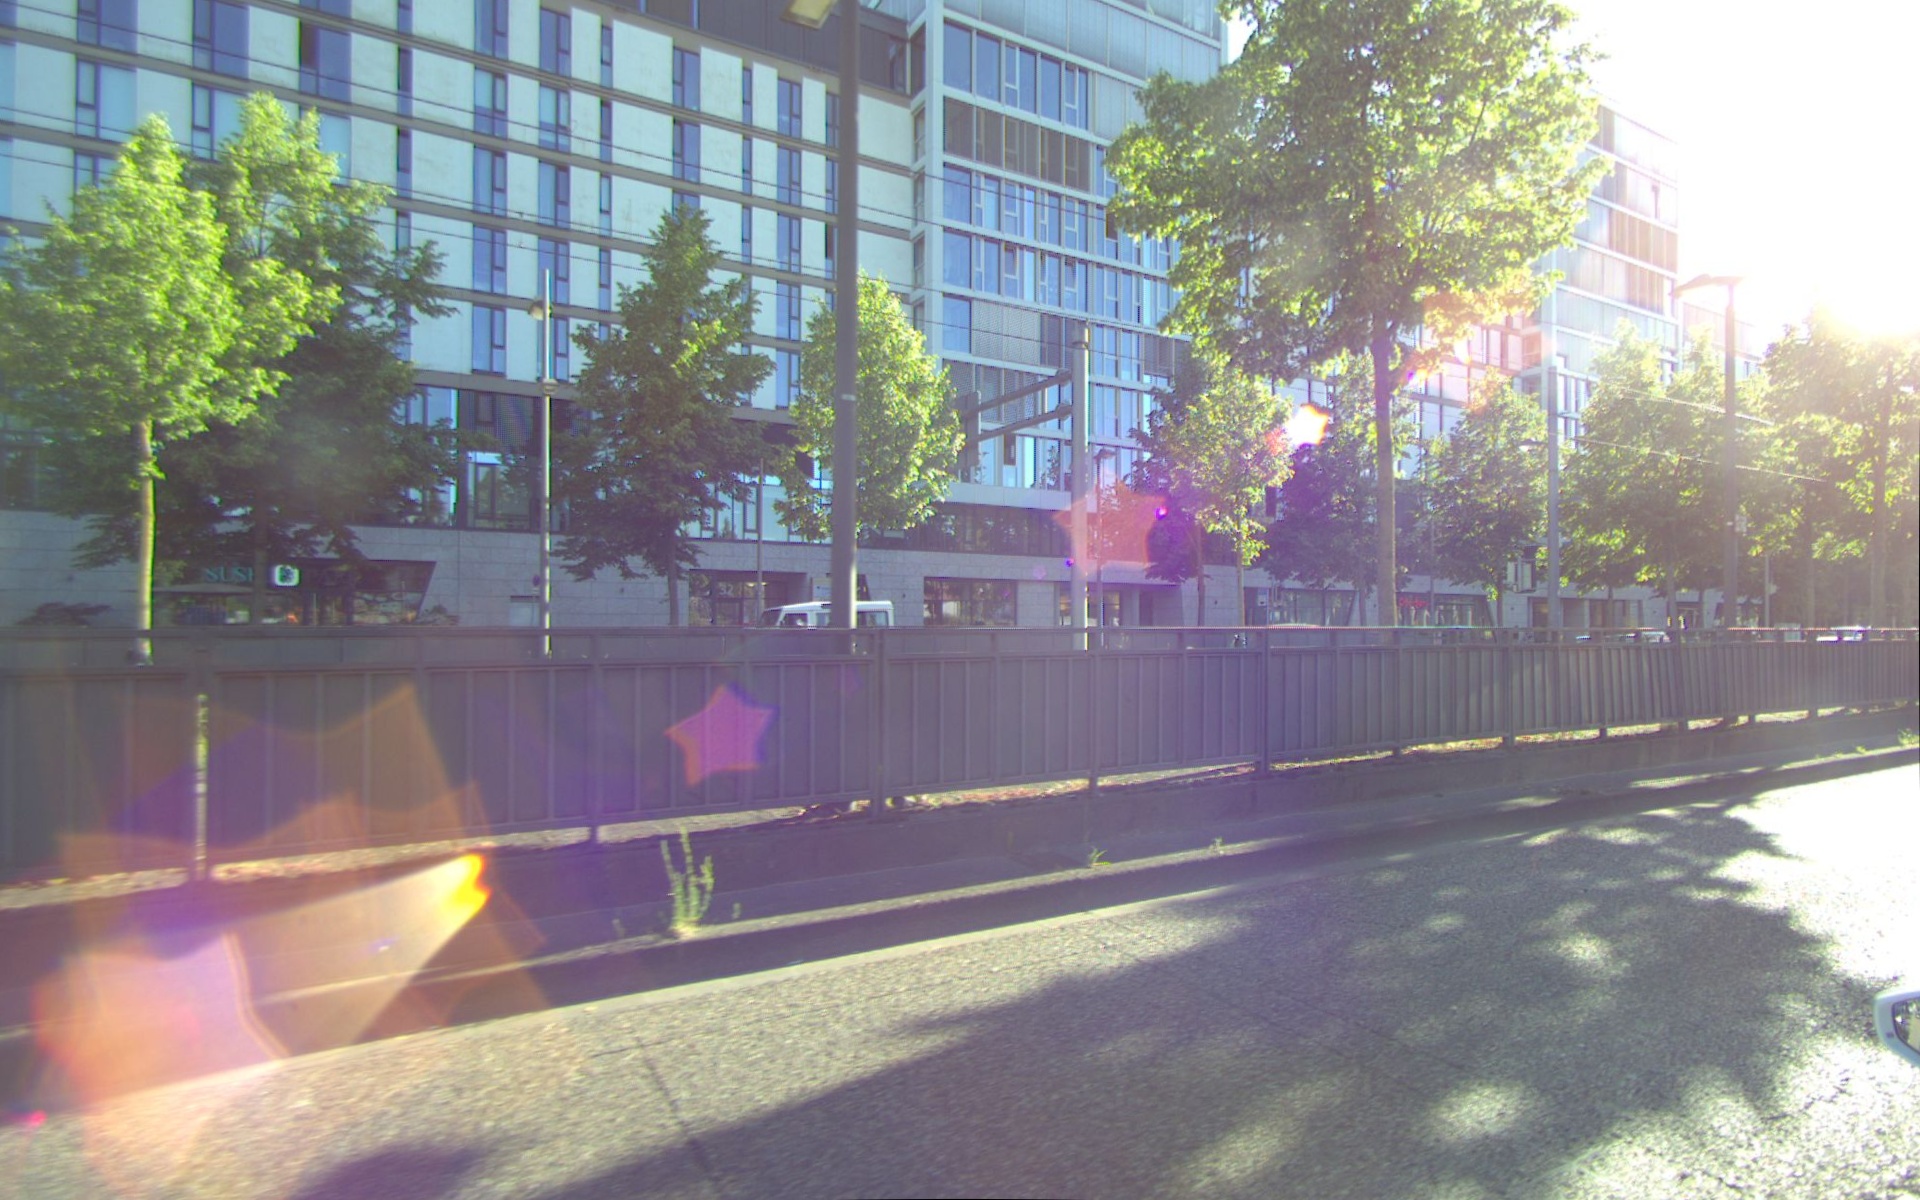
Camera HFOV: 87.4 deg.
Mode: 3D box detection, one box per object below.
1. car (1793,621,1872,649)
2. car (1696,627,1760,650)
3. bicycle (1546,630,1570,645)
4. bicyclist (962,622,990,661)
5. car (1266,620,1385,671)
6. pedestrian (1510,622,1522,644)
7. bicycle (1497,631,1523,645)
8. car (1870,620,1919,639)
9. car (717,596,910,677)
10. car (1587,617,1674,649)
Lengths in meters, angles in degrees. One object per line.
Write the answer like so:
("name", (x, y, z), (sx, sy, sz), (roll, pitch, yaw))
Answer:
("car", (45.906, 1.812, 52.829), (4.457, 1.422, 1.809), (1, -2, -31))
("car", (50.081, 2.517, 65.487), (4.749, 1.438, 1.660), (1, -1, -31))
("bicycle", (40.503, 2.518, 68.044), (1.960, 0.985, 0.539), (3, -2, -31))
("bicyclist", (0.608, 1.580, 38.415), (0.821, 1.483, 0.717), (0, -1, -28))
("car", (11.803, 1.424, 32.380), (3.657, 1.541, 1.671), (1, -1, -31))
("pedestrian", (35.679, 2.116, 64.450), (0.682, 1.431, 0.406), (2, -2, -30))
("bicycle", (35.576, 2.461, 64.948), (1.991, 0.892, 0.539), (2, -1, -31))
("car", (73.658, 2.321, 79.120), (4.491, 1.439, 1.707), (1, -1, -30))
("car", (-3.483, 0.856, 24.008), (4.178, 1.773, 1.984), (1, -2, -31))
("car", (31.748, 1.569, 47.526), (4.284, 1.422, 1.751), (3, -2, -31))
